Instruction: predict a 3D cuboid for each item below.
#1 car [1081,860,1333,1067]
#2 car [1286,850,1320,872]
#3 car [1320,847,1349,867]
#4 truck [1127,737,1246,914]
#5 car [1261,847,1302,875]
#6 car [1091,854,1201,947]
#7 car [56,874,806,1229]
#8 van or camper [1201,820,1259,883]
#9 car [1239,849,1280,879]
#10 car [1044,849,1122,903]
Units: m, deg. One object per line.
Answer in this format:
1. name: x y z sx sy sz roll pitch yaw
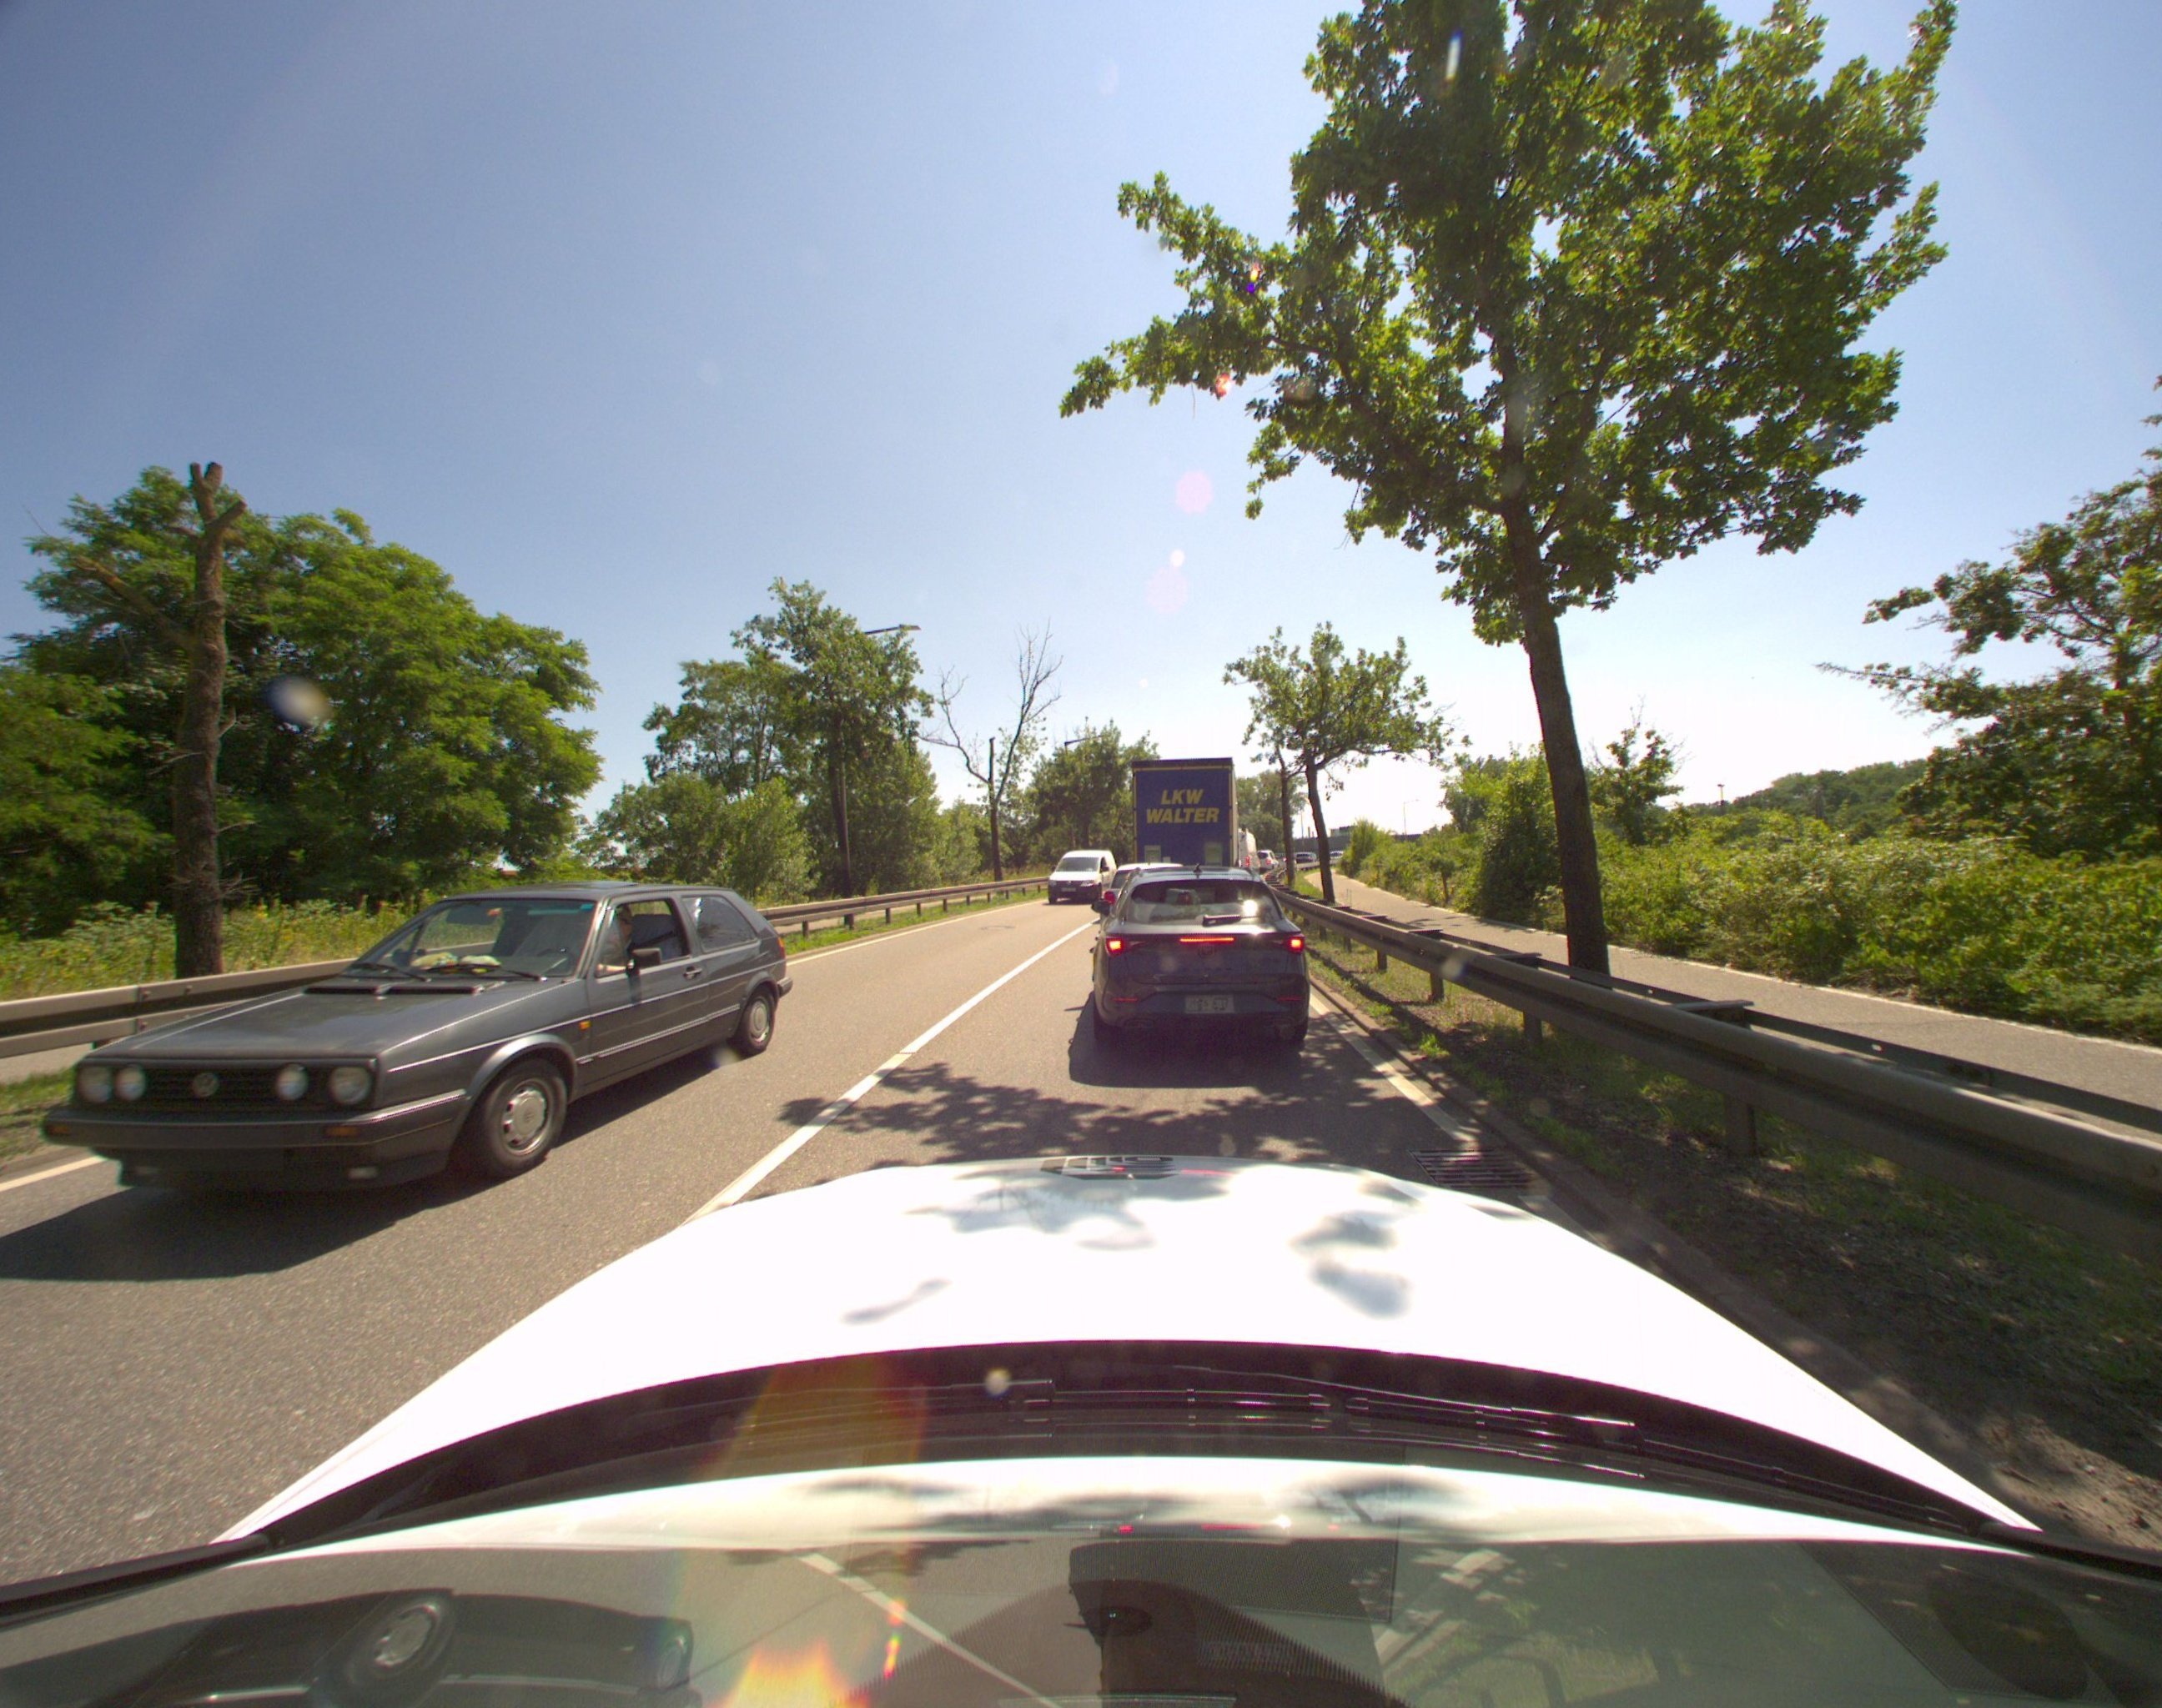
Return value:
1. car: 0.949 0.783 7.646 1.737 1.432 3.882 -1 0 2
2. car: 18.181 0.587 66.545 1.976 1.717 4.895 -1 0 23
3. car: 24.057 0.281 77.284 1.975 1.768 4.782 -1 0 25
4. truck: 4.208 -0.666 28.905 2.931 4.449 16.847 -1 0 11
5. car: 13.980 0.489 56.633 1.976 1.808 4.872 -1 0 23
6. car: 1.167 0.781 15.438 1.802 1.508 4.003 -1 0 3
7. car: -3.382 0.864 5.323 1.549 1.372 3.894 -1 0 5
8. van or camper: 7.818 -0.090 42.228 2.448 2.998 6.110 -1 0 15
9. car: 11.072 0.600 50.359 1.977 1.712 4.642 -1 0 19
10. car: 0.167 0.727 28.795 1.733 1.763 4.406 -1 0 14
